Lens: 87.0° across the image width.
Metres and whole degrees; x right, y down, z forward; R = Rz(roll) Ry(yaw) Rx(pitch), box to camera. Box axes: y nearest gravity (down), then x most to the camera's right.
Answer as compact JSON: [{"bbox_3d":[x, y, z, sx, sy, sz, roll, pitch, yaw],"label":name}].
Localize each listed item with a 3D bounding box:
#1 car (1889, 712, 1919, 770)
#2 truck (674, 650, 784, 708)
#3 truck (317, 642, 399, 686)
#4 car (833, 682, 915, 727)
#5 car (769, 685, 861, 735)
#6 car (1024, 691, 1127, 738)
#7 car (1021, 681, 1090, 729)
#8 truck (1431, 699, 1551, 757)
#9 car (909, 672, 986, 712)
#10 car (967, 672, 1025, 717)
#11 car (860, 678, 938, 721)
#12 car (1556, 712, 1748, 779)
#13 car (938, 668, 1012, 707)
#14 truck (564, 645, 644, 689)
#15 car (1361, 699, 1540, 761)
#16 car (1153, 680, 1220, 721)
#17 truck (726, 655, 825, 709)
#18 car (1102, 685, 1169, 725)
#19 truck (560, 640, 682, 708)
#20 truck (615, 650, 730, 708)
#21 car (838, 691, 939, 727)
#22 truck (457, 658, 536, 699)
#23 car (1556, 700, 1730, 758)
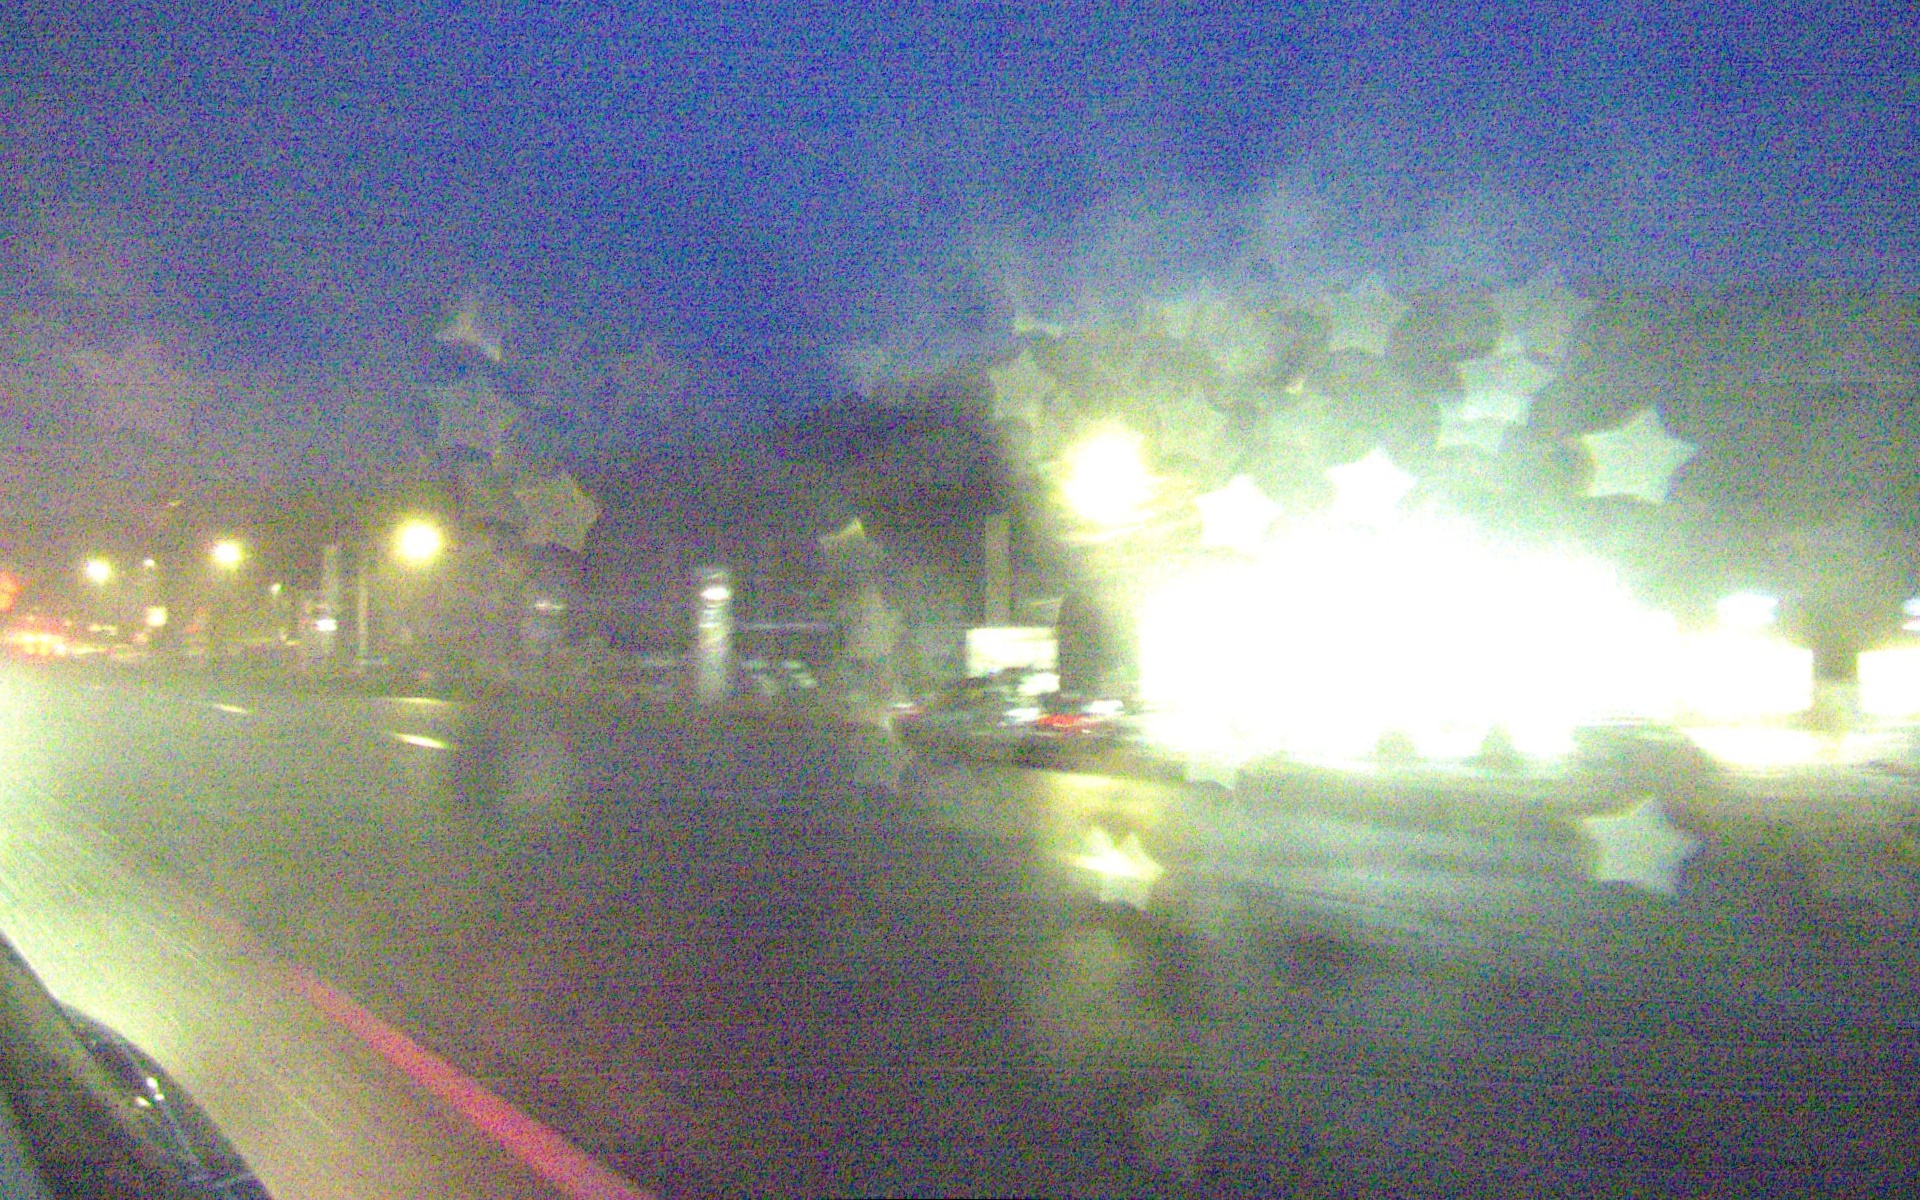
[{"bbox_3d":[29.275,4.143,29.084,3.501,1.630,1.667,0,-5,32],"label":"car"},{"bbox_3d":[-15.026,5.108,65.743,7.025,3.285,2.417,1,-5,31],"label":"truck"},{"bbox_3d":[-38.728,4.084,65.035,6.864,2.538,2.146,0,-6,39],"label":"truck"},{"bbox_3d":[-4.217,5.081,49.616,3.705,1.921,1.706,-1,-1,28],"label":"car"},{"bbox_3d":[-6.387,4.808,44.532,3.705,1.921,1.706,-1,-1,28],"label":"car"},{"bbox_3d":[4.114,4.041,35.659,1.907,1.466,3.952,0,-6,35],"label":"car"},{"bbox_3d":[4.191,4.498,43.889,1.985,1.652,3.972,-1,-1,21],"label":"car"},{"bbox_3d":[23.011,5.520,43.887,4.480,2.135,2.067,0,-6,32],"label":"truck"},{"bbox_3d":[-0.692,5.111,56.466,3.979,2.029,1.723,-1,-1,27],"label":"car"},{"bbox_3d":[1.681,4.202,45.376,1.979,1.652,3.986,-1,-1,11],"label":"car"},{"bbox_3d":[-3.143,5.082,51.995,3.705,1.921,1.706,-1,-1,28],"label":"car"},{"bbox_3d":[19.539,4.090,28.722,4.151,1.579,1.816,2,-4,2],"label":"car"},{"bbox_3d":[0.861,5.047,58.716,3.979,2.029,1.723,-1,-1,27],"label":"car"},{"bbox_3d":[-27.804,5.177,78.938,6.677,3.068,2.150,0,-6,34],"label":"truck"},{"bbox_3d":[15.378,4.063,32.038,4.813,1.579,1.989,1,-4,17],"label":"car"},{"bbox_3d":[11.724,5.206,52.235,1.996,1.870,3.952,0,-6,35],"label":"car"},{"bbox_3d":[-12.642,5.621,69.270,6.542,3.285,2.417,1,-5,31],"label":"truck"},{"bbox_3d":[9.330,5.566,53.463,1.928,1.870,3.952,0,-6,35],"label":"car"},{"bbox_3d":[-19.433,4.199,57.865,7.028,3.506,2.448,0,-5,32],"label":"truck"},{"bbox_3d":[-17.615,4.800,61.867,7.025,3.121,2.417,1,-5,31],"label":"truck"},{"bbox_3d":[-2.748,4.301,39.782,1.843,1.210,3.952,0,-6,35],"label":"car"},{"bbox_3d":[-33.161,5.576,72.333,6.864,2.538,2.146,0,-6,39],"label":"truck"},{"bbox_3d":[22.504,4.237,33.497,4.351,1.579,1.999,2,-4,2],"label":"car"}]
